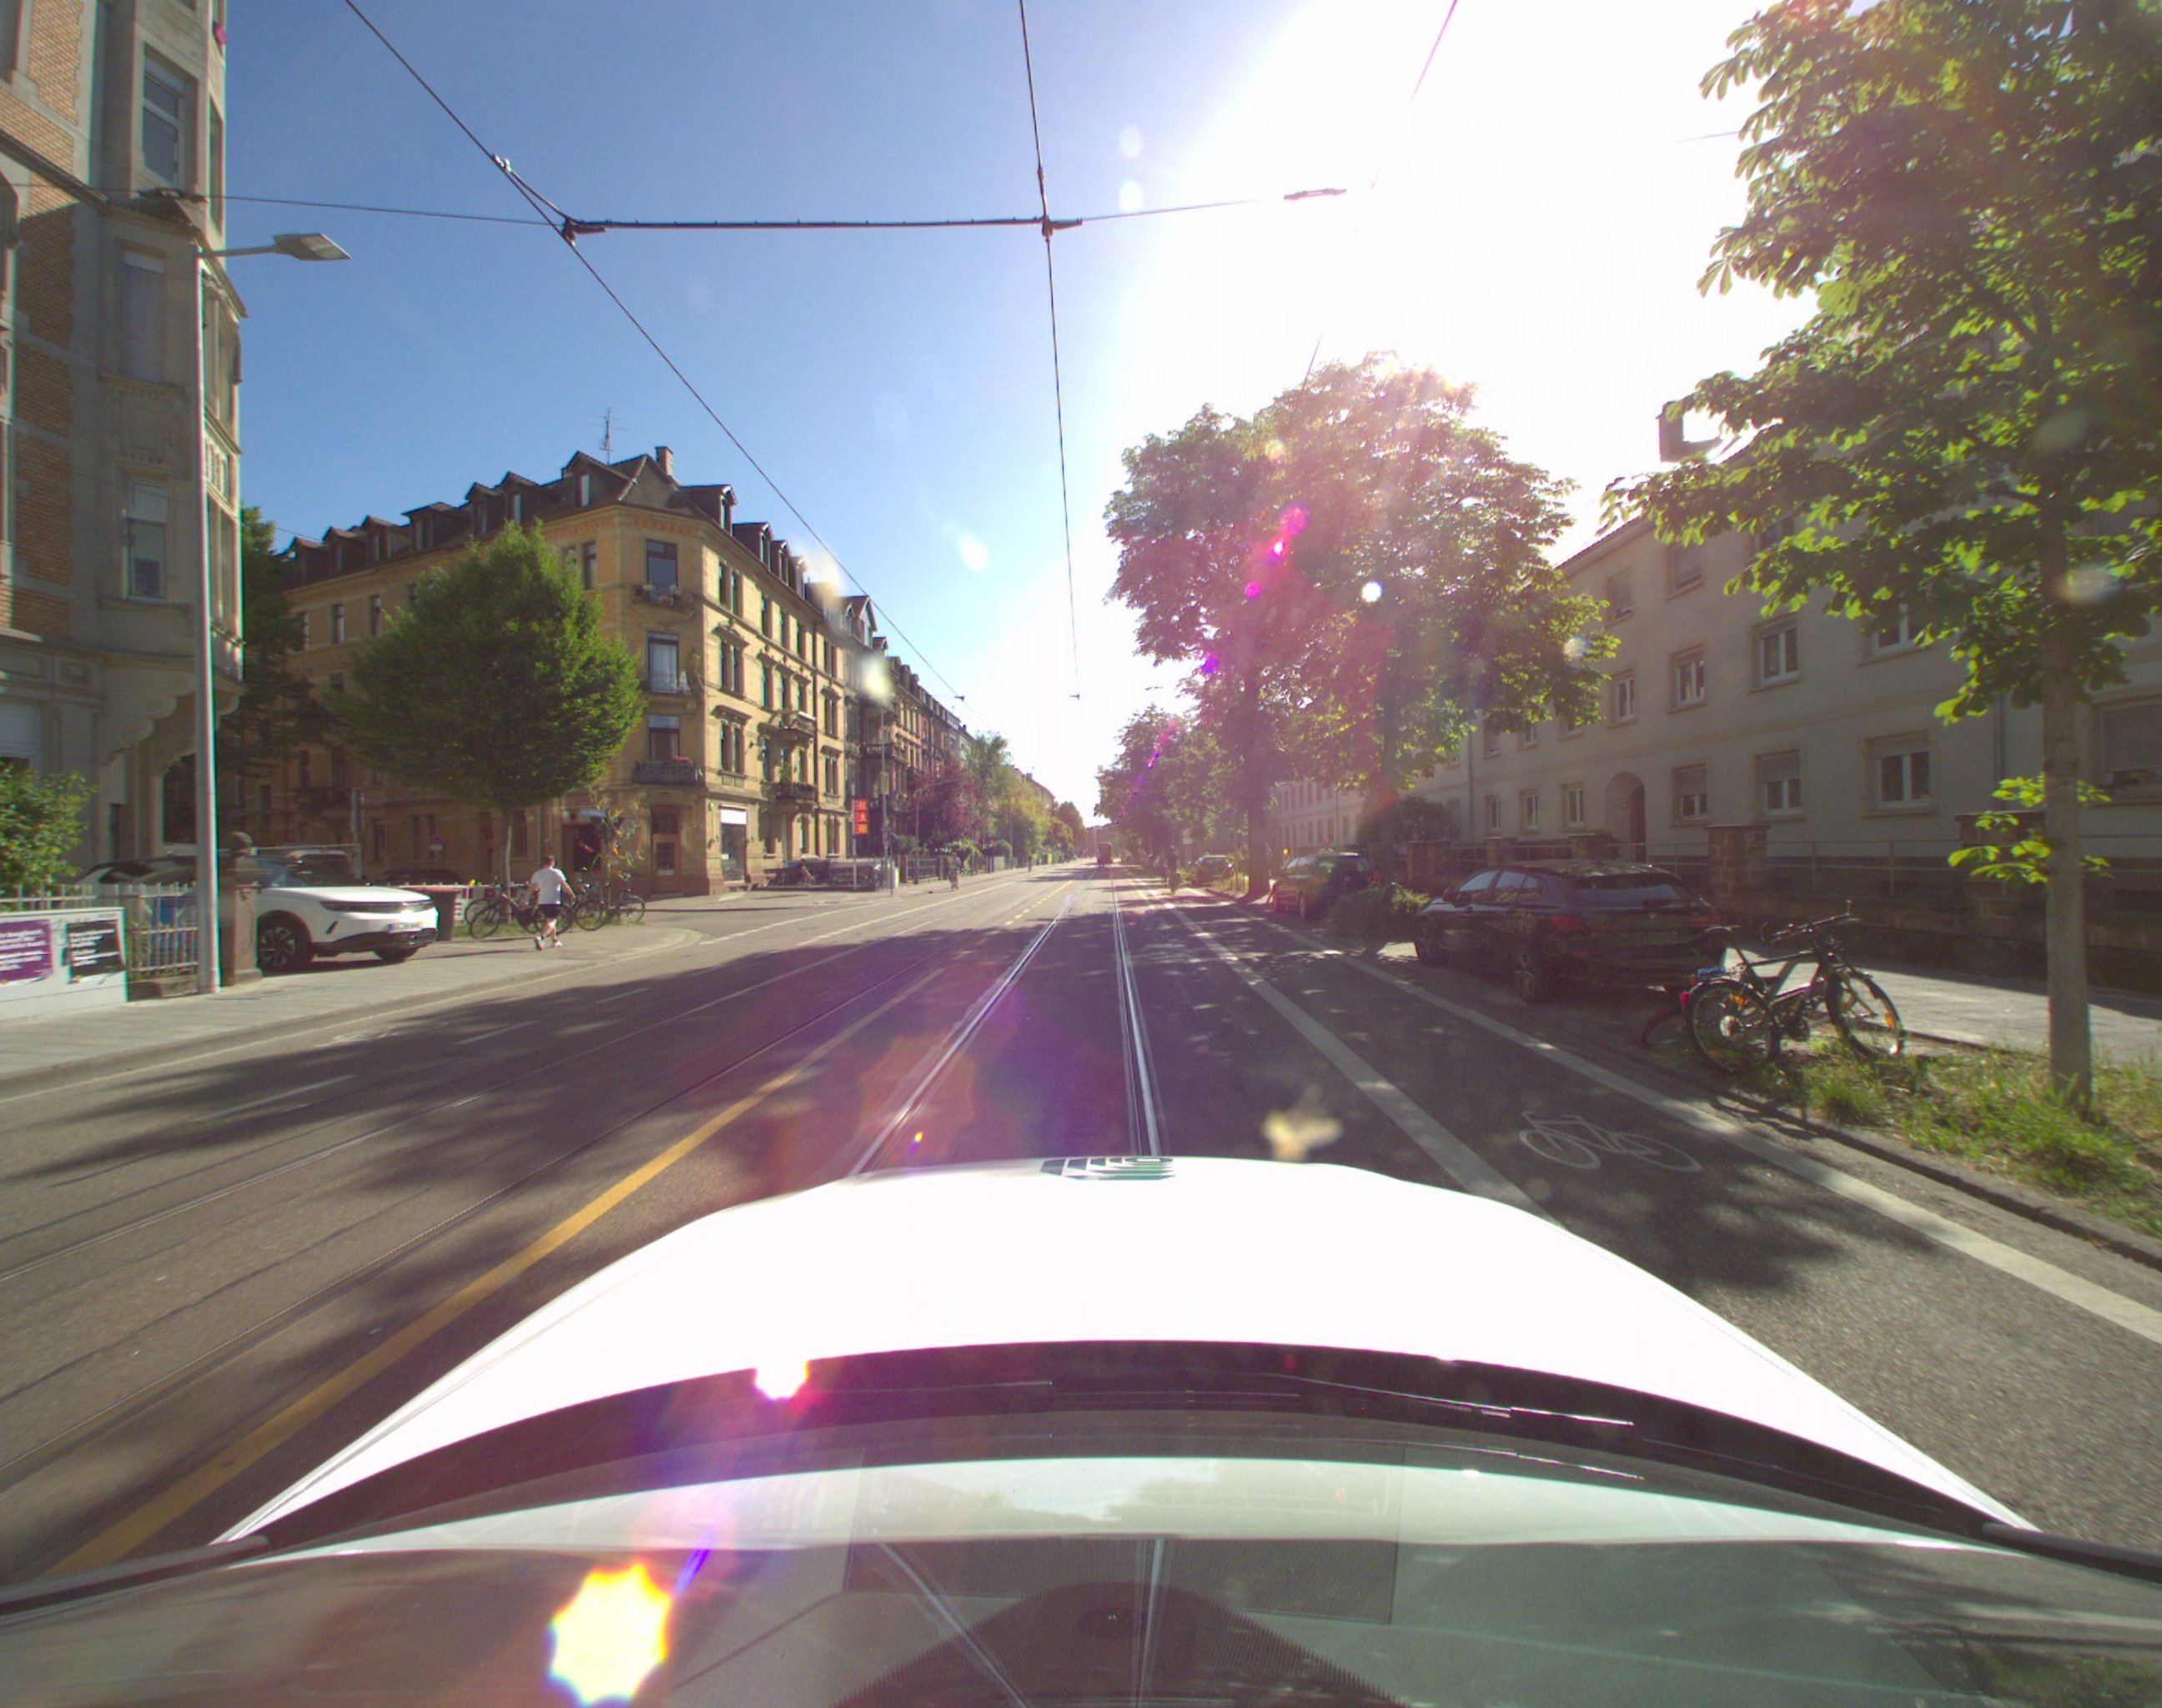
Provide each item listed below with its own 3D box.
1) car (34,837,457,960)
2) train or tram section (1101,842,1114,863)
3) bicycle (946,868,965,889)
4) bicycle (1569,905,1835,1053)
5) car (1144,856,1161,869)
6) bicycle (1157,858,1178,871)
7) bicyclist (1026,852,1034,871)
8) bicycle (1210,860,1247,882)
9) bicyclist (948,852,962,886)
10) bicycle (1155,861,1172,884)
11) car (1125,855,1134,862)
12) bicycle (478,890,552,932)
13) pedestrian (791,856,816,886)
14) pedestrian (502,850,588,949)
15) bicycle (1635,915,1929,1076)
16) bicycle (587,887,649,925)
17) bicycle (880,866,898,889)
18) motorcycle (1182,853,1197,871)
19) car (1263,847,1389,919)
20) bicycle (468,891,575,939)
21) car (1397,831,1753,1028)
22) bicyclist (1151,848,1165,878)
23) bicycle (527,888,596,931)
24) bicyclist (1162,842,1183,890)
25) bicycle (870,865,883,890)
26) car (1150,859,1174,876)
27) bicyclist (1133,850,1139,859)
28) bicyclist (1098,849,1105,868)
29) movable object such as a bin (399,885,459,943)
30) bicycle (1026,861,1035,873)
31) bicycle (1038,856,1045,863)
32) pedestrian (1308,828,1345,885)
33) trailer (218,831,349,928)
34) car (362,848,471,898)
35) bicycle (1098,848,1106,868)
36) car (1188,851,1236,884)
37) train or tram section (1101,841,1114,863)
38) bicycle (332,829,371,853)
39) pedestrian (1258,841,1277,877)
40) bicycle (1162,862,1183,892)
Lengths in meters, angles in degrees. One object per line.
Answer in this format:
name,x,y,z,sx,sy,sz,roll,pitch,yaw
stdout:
car,-12.284,0.608,12.193,4.426,1.643,1.969,1,-1,4
train or tram section,4.460,-0.274,138.602,2.145,3.431,6.613,1,0,2
bicycle,-6.061,1.150,39.390,0.458,0.926,2.204,-2,0,2
bicycle,4.903,0.972,6.485,1.754,1.078,0.434,1,0,2
car,8.226,0.947,94.042,1.742,1.420,4.001,-2,0,1
bicycle,7.684,0.948,72.579,1.786,1.019,0.620,-3,0,1
bicyclist,-4.829,0.744,77.511,0.658,1.801,0.616,-3,-1,2
bicycle,7.726,0.901,42.774,1.789,1.067,0.620,-2,0,-4
bicyclist,-6.096,0.724,39.331,0.462,1.618,0.745,-3,0,2
bicycle,4.082,0.911,40.390,0.689,1.112,1.918,1,0,2
car,10.559,0.960,177.168,1.747,1.552,3.678,0,0,2
bicycle,-13.322,1.328,19.194,0.613,0.914,1.303,-2,-2,40
pedestrian,-13.040,0.803,38.215,0.897,1.352,0.577,-3,-1,3
pedestrian,-9.705,0.807,14.786,0.827,1.724,1.081,1,-1,-4
bicycle,5.109,1.019,5.988,1.754,1.078,0.434,1,0,2
bicycle,-11.609,1.288,20.427,1.300,0.914,0.614,1,-2,-34
bicycle,-9.165,1.106,38.852,0.334,1.001,1.870,1,0,2
motorcycle,7.283,0.521,54.572,0.494,1.190,1.858,-5,1,-6
car,5.692,0.602,19.474,1.714,1.473,4.246,-2,0,0
bicycle,-11.625,1.250,16.967,1.795,0.914,0.614,1,-2,-34
car,5.419,0.701,9.689,1.660,1.761,4.232,-3,0,1
bicyclist,3.823,0.427,40.318,0.633,1.468,0.616,1,0,2
bicycle,-11.808,1.249,18.538,1.300,0.914,0.614,1,-2,-34
bicyclist,3.577,0.474,31.739,0.725,1.848,0.837,1,0,1
bicycle,-9.464,1.091,37.689,0.369,1.126,0.809,1,0,2
car,7.473,1.207,75.624,1.624,1.436,4.662,-2,0,-1
bicyclist,8.121,0.017,119.585,0.766,1.291,0.736,1,0,18
bicyclist,1.995,0.404,79.084,0.643,1.796,0.956,1,0,1
movable object such as a bin,-12.918,1.171,16.143,0.572,1.071,0.719,1,0,15
bicycle,-4.816,1.202,77.611,0.689,1.112,1.719,-2,0,2
bicycle,-6.100,0.814,126.314,0.634,1.069,1.822,1,0,-15
pedestrian,7.938,0.083,26.339,0.602,1.771,0.905,-3,0,-29
trailer,-23.632,0.764,24.151,2.893,2.695,1.838,-3,-1,25
car,-26.180,0.712,32.100,3.547,1.749,1.850,1,3,24
bicycle,2.048,0.377,79.202,0.660,1.859,2.261,1,0,3
car,6.373,0.632,39.936,1.780,1.464,4.046,-1,0,2
train or tram section,4.276,-0.261,131.969,2.145,3.431,6.613,1,0,2
bicycle,-35.220,-0.640,39.311,2.107,1.126,0.559,0,-1,23
pedestrian,9.083,0.241,39.697,0.755,1.724,0.583,0,0,31
bicycle,3.558,0.894,31.815,0.689,1.112,1.719,1,0,2
